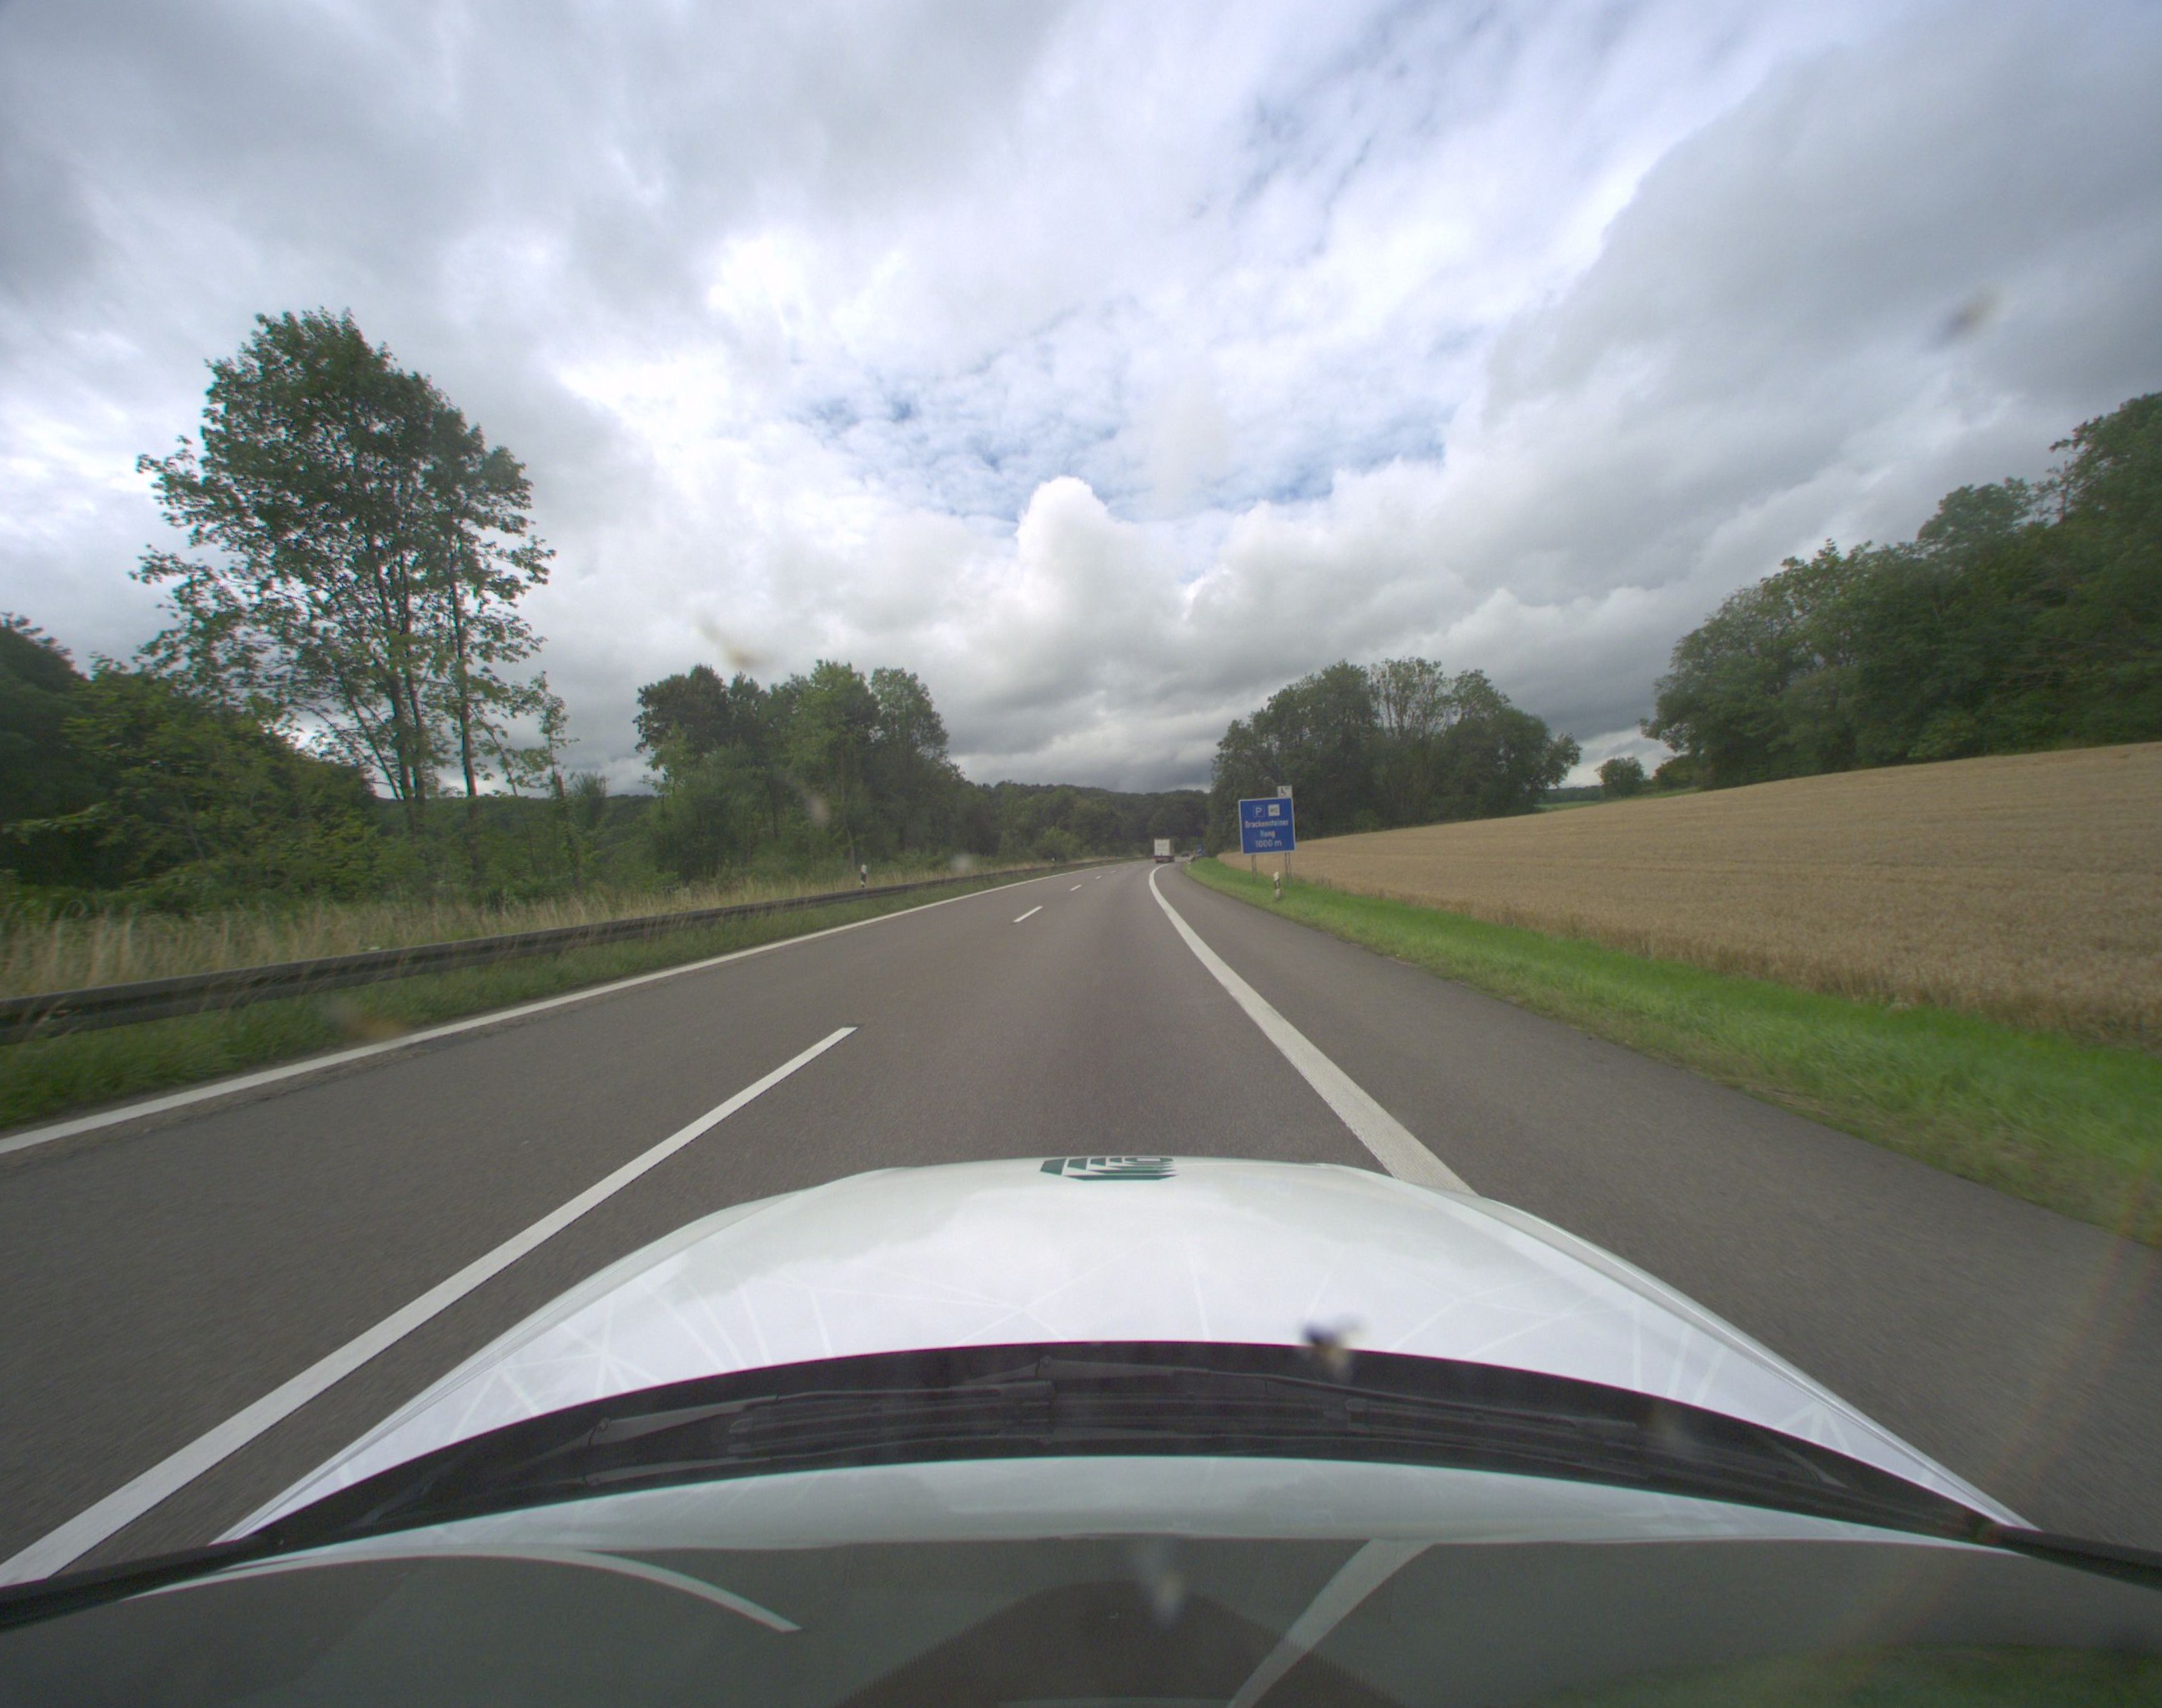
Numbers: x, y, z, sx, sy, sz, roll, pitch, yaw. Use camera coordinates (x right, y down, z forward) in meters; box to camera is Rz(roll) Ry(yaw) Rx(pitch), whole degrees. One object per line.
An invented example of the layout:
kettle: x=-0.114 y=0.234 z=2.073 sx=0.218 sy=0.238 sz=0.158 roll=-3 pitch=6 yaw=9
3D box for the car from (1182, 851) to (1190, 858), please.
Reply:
car: x=28.917 y=0.185 z=225.204 sx=1.890 sy=1.795 sz=4.012 roll=-1 pitch=-1 yaw=11

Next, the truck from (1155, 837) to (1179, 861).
truck: x=15.596 y=-0.848 z=147.465 sx=3.766 sy=4.132 sz=8.284 roll=-1 pitch=-1 yaw=9

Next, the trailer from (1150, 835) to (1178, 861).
trailer: x=14.343 y=-0.902 z=139.742 sx=3.783 sy=4.175 sz=14.845 roll=-1 pitch=-1 yaw=9
